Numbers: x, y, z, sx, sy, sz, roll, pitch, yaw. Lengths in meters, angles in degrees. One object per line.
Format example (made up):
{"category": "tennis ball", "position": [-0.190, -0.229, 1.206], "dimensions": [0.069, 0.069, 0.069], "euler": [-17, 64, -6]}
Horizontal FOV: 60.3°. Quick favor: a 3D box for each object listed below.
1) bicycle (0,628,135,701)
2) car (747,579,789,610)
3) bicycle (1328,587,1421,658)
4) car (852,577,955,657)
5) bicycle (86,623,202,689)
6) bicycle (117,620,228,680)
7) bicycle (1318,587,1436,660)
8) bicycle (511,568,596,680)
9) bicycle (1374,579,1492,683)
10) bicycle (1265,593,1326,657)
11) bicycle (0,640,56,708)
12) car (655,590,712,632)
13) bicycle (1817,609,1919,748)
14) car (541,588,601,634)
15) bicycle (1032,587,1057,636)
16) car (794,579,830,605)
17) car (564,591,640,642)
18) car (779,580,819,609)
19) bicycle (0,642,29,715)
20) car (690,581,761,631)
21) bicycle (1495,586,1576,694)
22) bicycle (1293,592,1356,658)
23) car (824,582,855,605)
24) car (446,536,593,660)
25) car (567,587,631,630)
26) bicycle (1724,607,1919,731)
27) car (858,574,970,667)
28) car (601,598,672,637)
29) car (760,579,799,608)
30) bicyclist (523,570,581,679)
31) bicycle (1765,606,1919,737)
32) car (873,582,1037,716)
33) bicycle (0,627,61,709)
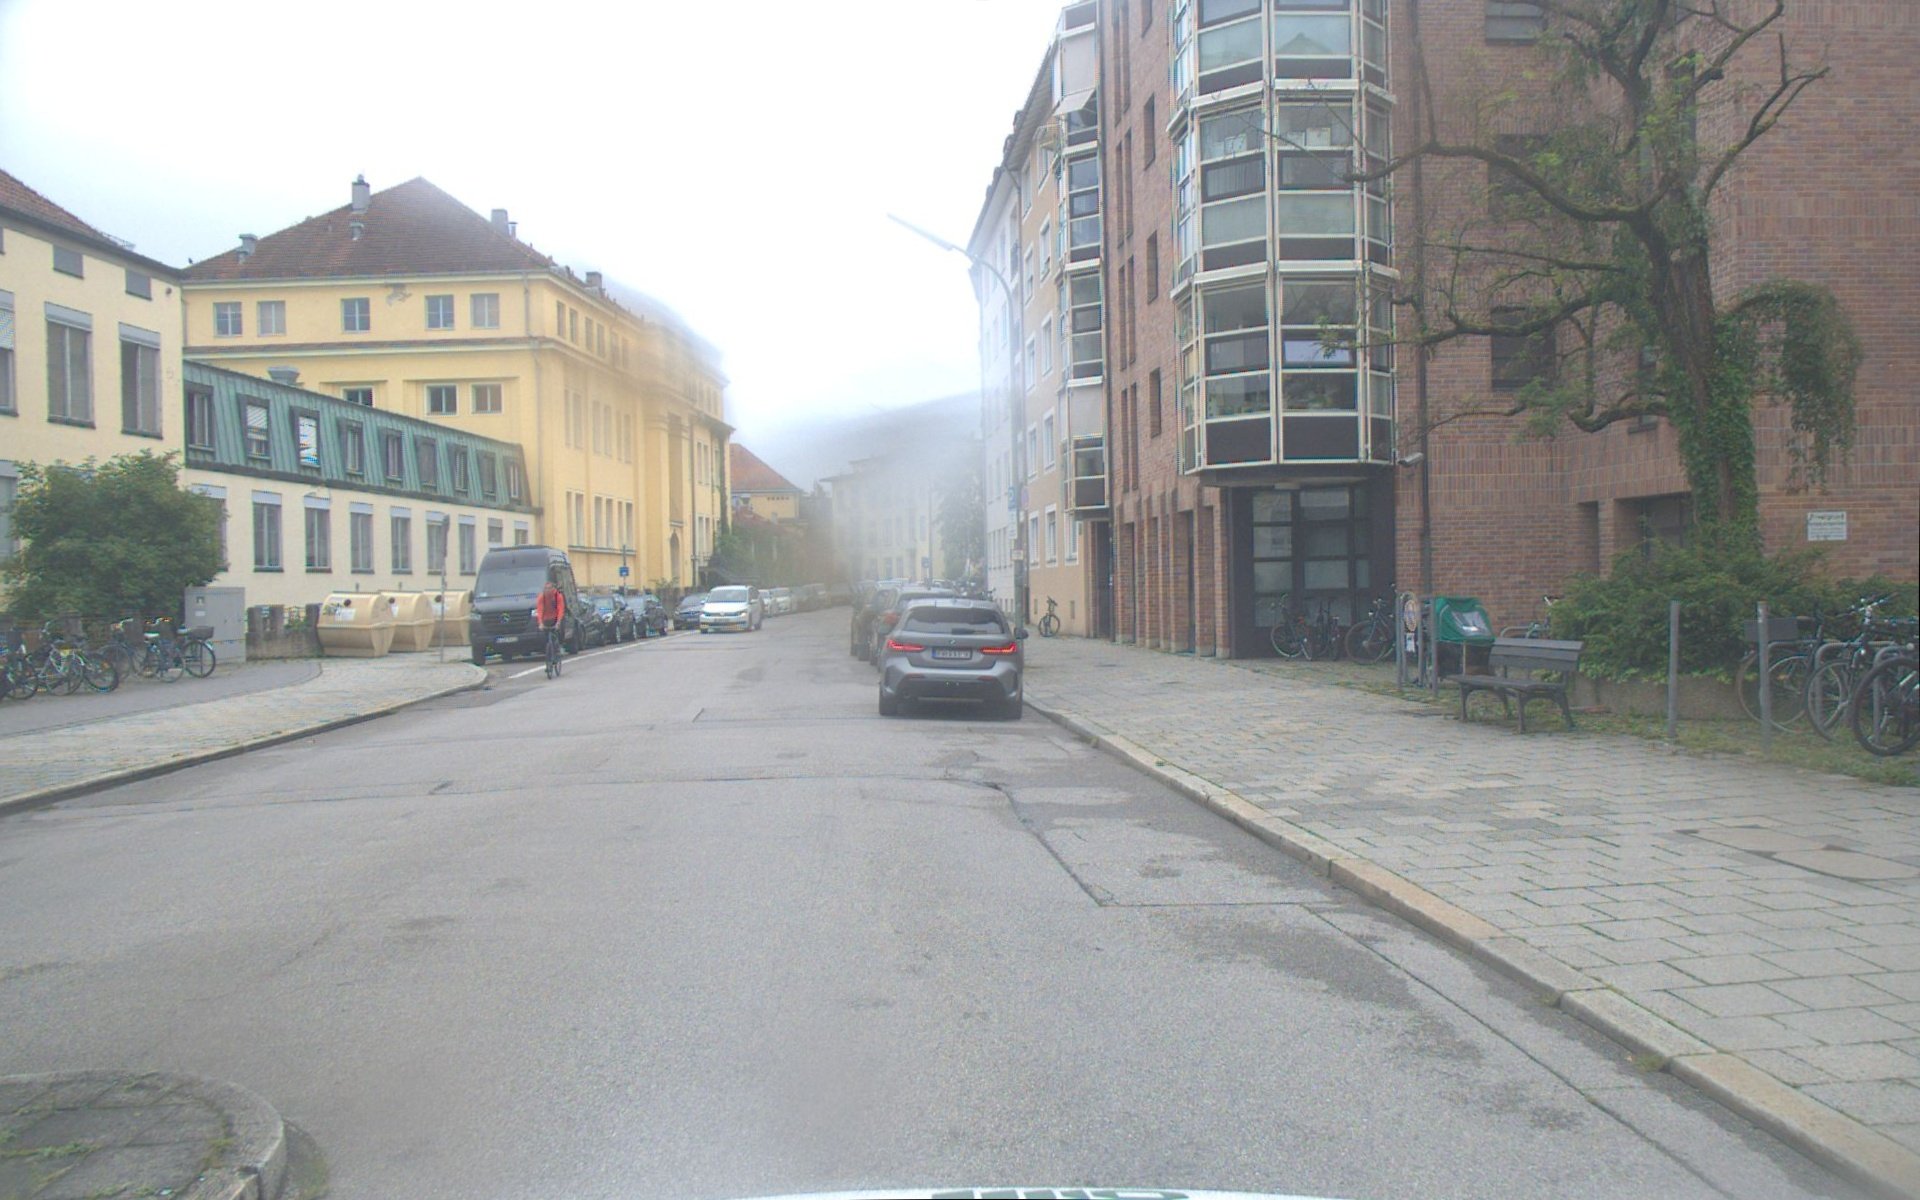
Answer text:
{"category": "bicycle", "position": [-15.079, 1.077, 27.762], "dimensions": [2.261, 1.155, 0.582], "euler": [0, 1, 7]}
{"category": "car", "position": [-9.636, -0.310, 83.075], "dimensions": [1.662, 1.469, 3.509], "euler": [0, 1, 1]}
{"category": "bicycle", "position": [6.874, 0.372, 27.481], "dimensions": [1.446, 1.167, 0.383], "euler": [0, 1, 2]}
{"category": "car", "position": [-1.333, 0.330, 37.103], "dimensions": [1.927, 1.630, 4.665], "euler": [0, 1, -7]}
{"category": "bicycle", "position": [-15.014, 1.025, 30.444], "dimensions": [1.915, 1.151, 0.573], "euler": [0, 1, 7]}
{"category": "bicycle", "position": [-15.278, 0.965, 32.121], "dimensions": [1.864, 1.111, 0.678], "euler": [0, 1, 7]}
{"category": "bicycle", "position": [6.805, 0.382, 27.029], "dimensions": [1.809, 1.167, 0.488], "euler": [0, 1, 2]}
{"category": "bicycle", "position": [-8.000, 0.430, 32.704], "dimensions": [0.732, 2.048, 2.849], "euler": [-3, 1, 3]}
{"category": "bicycle", "position": [6.139, 0.397, 21.601], "dimensions": [0.524, 1.270, 2.408], "euler": [0, -1, -9]}
{"category": "bicycle", "position": [5.791, 0.424, 28.657], "dimensions": [0.476, 1.078, 1.993], "euler": [0, 0, -6]}
{"category": "bicycle", "position": [-15.455, 1.168, 26.379], "dimensions": [1.827, 1.047, 0.540], "euler": [0, 1, 7]}
{"category": "car", "position": [-11.281, 0.425, 67.608], "dimensions": [1.736, 1.577, 3.778], "euler": [0, 1, -1]}
{"category": "bicycle", "position": [7.296, 0.567, 12.208], "dimensions": [1.666, 0.982, 0.546], "euler": [0, 1, -3]}
{"category": "car", "position": [-15.228, 0.404, 64.790], "dimensions": [1.572, 1.689, 2.810], "euler": [0, 1, 3]}
{"category": "bicycle", "position": [2.433, 0.315, 47.832], "dimensions": [0.459, 1.310, 2.674], "euler": [0, 1, -2]}
{"category": "car", "position": [-9.479, -0.504, 105.953], "dimensions": [1.953, 1.575, 4.000], "euler": [0, 1, 0]}
{"category": "car", "position": [-11.346, 0.502, 52.597], "dimensions": [1.664, 1.478, 3.741], "euler": [0, 1, -1]}
{"category": "car", "position": [-9.348, -0.327, 96.255], "dimensions": [1.953, 1.575, 4.000], "euler": [0, 1, 0]}
{"category": "bicycle", "position": [-15.038, 1.168, 24.957], "dimensions": [1.752, 1.051, 0.508], "euler": [0, 1, 7]}
{"category": "car", "position": [-8.406, 0.250, 59.732], "dimensions": [1.985, 1.649, 4.503], "euler": [-3, -1, -2]}
{"category": "bicycle", "position": [6.710, 0.444, 19.263], "dimensions": [0.413, 1.193, 1.354], "euler": [1, 1, 41]}
{"category": "bicycle", "position": [6.315, 0.415, 28.740], "dimensions": [0.476, 1.078, 1.993], "euler": [0, 1, -5]}
{"category": "car", "position": [-8.698, -0.465, 119.412], "dimensions": [1.953, 1.575, 4.000], "euler": [0, 1, 0]}
{"category": "car", "position": [-10.820, -0.027, 41.143], "dimensions": [2.375, 2.762, 5.947], "euler": [-3, 0, -5]}
{"category": "car", "position": [-15.000, 0.322, 68.882], "dimensions": [1.683, 1.689, 3.750], "euler": [0, 1, 3]}
{"category": "bicycle", "position": [7.222, 0.558, 13.578], "dimensions": [1.666, 0.982, 0.546], "euler": [0, 1, -3]}
{"category": "car", "position": [-0.954, 0.344, 31.891], "dimensions": [1.795, 1.630, 4.260], "euler": [0, 1, -7]}
{"category": "car", "position": [-11.184, 0.581, 57.385], "dimensions": [1.496, 1.223, 3.744], "euler": [0, 1, 4]}
{"category": "car", "position": [-9.878, -0.376, 90.727], "dimensions": [1.662, 1.469, 3.509], "euler": [0, 1, 1]}
{"category": "bicyclist", "position": [-8.005, 0.469, 32.501], "dimensions": [0.751, 2.048, 0.768], "euler": [-5, 1, 2]}
{"category": "bicycle", "position": [7.242, 0.549, 12.905], "dimensions": [1.666, 0.982, 0.546], "euler": [0, 1, -3]}
{"category": "car", "position": [-0.171, 0.554, 21.314], "dimensions": [1.887, 1.539, 4.389], "euler": [0, 0, -3]}
{"category": "bicycle", "position": [-15.311, 1.070, 25.740], "dimensions": [2.499, 1.227, 0.425], "euler": [-1, 1, 7]}
